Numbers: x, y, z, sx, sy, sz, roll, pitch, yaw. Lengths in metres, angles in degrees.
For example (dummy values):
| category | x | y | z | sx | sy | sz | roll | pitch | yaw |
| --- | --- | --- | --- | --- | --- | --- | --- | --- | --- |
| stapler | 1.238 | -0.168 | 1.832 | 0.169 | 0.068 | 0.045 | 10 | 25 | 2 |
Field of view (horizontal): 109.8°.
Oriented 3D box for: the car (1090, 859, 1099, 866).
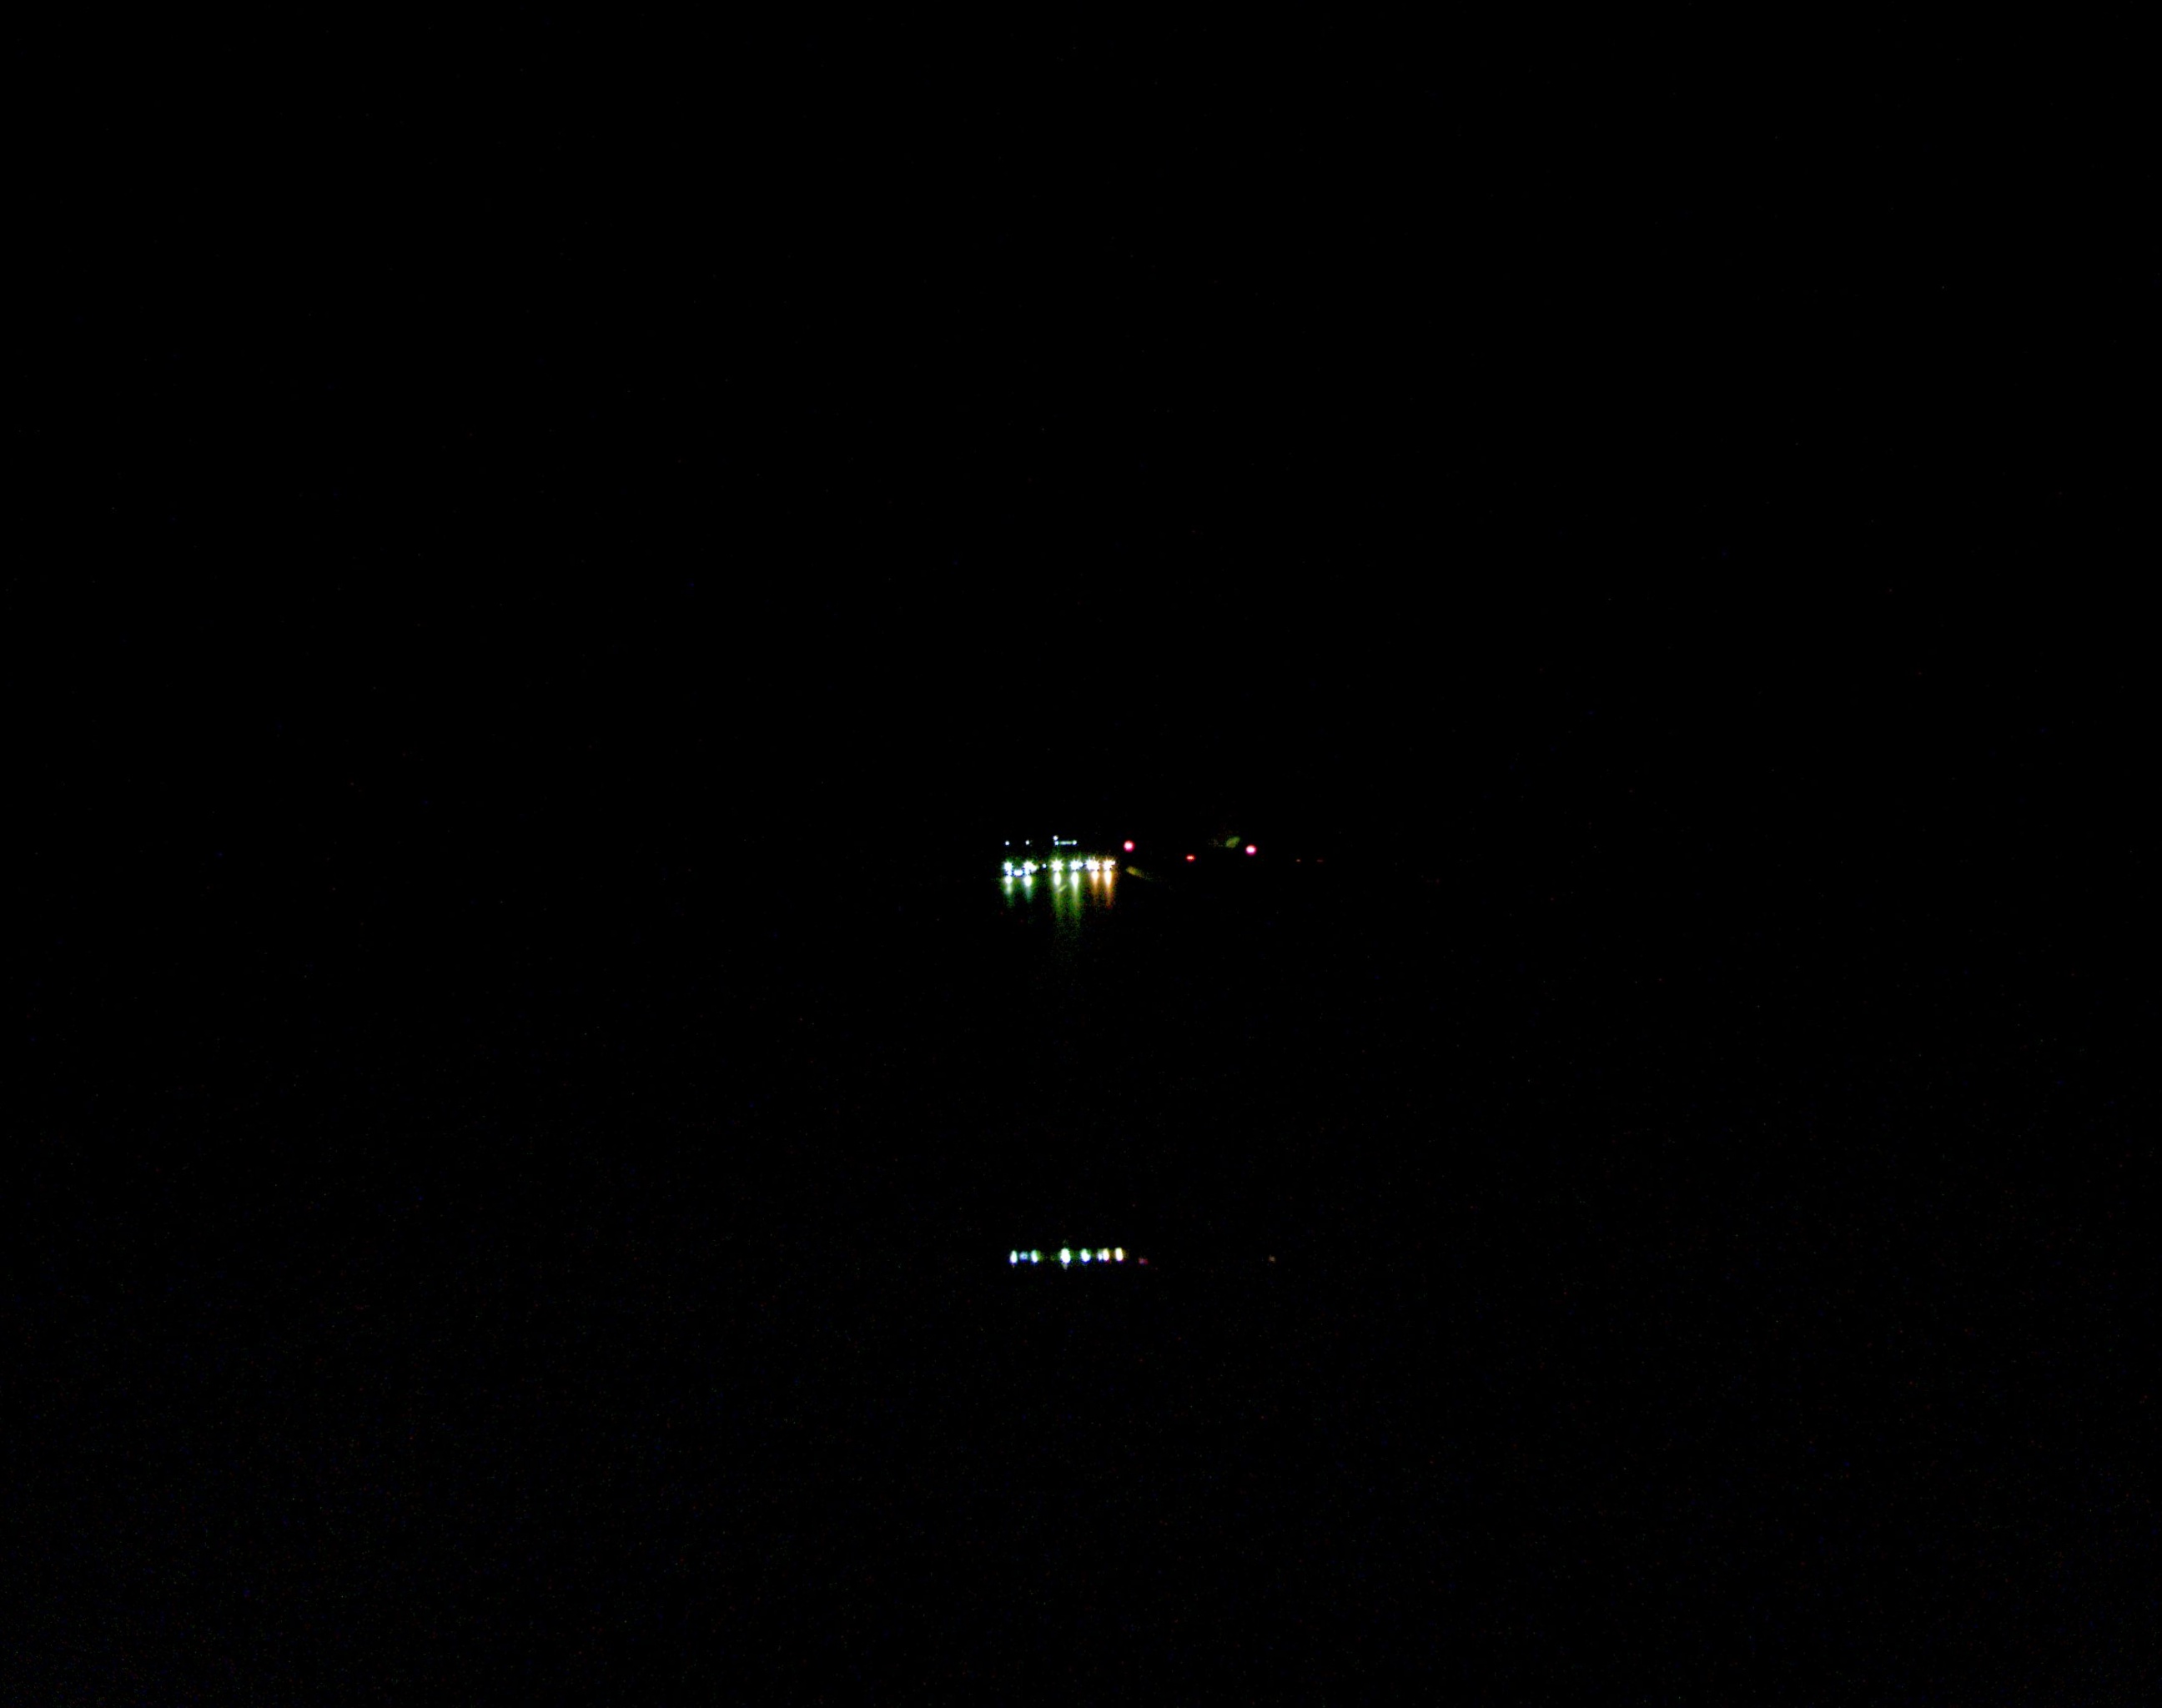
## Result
| category | x | y | z | sx | sy | sz | roll | pitch | yaw |
| --- | --- | --- | --- | --- | --- | --- | --- | --- | --- |
| car | 3.672 | 2.213 | 203.472 | 2.266 | 1.841 | 5.404 | -2 | 0 | 2 |

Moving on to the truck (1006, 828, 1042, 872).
| category | x | y | z | sx | sy | sz | roll | pitch | yaw |
| --- | --- | --- | --- | --- | --- | --- | --- | --- | --- |
| truck | -5.661 | -0.373 | 76.660 | 2.597 | 4.048 | 7.675 | -2 | 0 | 2 |

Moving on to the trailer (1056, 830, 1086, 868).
| category | x | y | z | sx | sy | sz | roll | pitch | yaw |
| --- | --- | --- | --- | --- | --- | --- | --- | --- | --- |
| trailer | -1.066 | -0.496 | 92.039 | 2.749 | 4.181 | 13.513 | -2 | 0 | 2 |

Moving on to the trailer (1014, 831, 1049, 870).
| category | x | y | z | sx | sy | sz | roll | pitch | yaw |
| --- | --- | --- | --- | --- | --- | --- | --- | --- | --- |
| trailer | -5.375 | -0.344 | 84.167 | 2.597 | 4.048 | 10.010 | -2 | 0 | 2 |

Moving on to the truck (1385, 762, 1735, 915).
| category | x | y | z | sx | sy | sz | roll | pitch | yaw |
| --- | --- | --- | --- | --- | --- | --- | --- | --- | --- |
| truck | 16.642 | -0.391 | 29.519 | 3.121 | 4.178 | 16.980 | 1 | 0 | 1 |

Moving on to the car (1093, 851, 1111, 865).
| category | x | y | z | sx | sy | sz | roll | pitch | yaw |
| --- | --- | --- | --- | --- | --- | --- | --- | --- | --- |
| car | 2.361 | 0.416 | 84.239 | 1.825 | 1.457 | 4.248 | -2 | 0 | 2 |

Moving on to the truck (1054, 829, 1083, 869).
| category | x | y | z | sx | sy | sz | roll | pitch | yaw |
| --- | --- | --- | --- | --- | --- | --- | --- | --- | --- |
| truck | -1.345 | -0.502 | 85.059 | 2.668 | 4.181 | 6.724 | -2 | 0 | 2 |

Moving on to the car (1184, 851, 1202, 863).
| category | x | y | z | sx | sy | sz | roll | pitch | yaw |
| --- | --- | --- | --- | --- | --- | --- | --- | --- | --- |
| car | 14.914 | 0.408 | 101.249 | 1.754 | 1.470 | 4.752 | 1 | 0 | 1 |
